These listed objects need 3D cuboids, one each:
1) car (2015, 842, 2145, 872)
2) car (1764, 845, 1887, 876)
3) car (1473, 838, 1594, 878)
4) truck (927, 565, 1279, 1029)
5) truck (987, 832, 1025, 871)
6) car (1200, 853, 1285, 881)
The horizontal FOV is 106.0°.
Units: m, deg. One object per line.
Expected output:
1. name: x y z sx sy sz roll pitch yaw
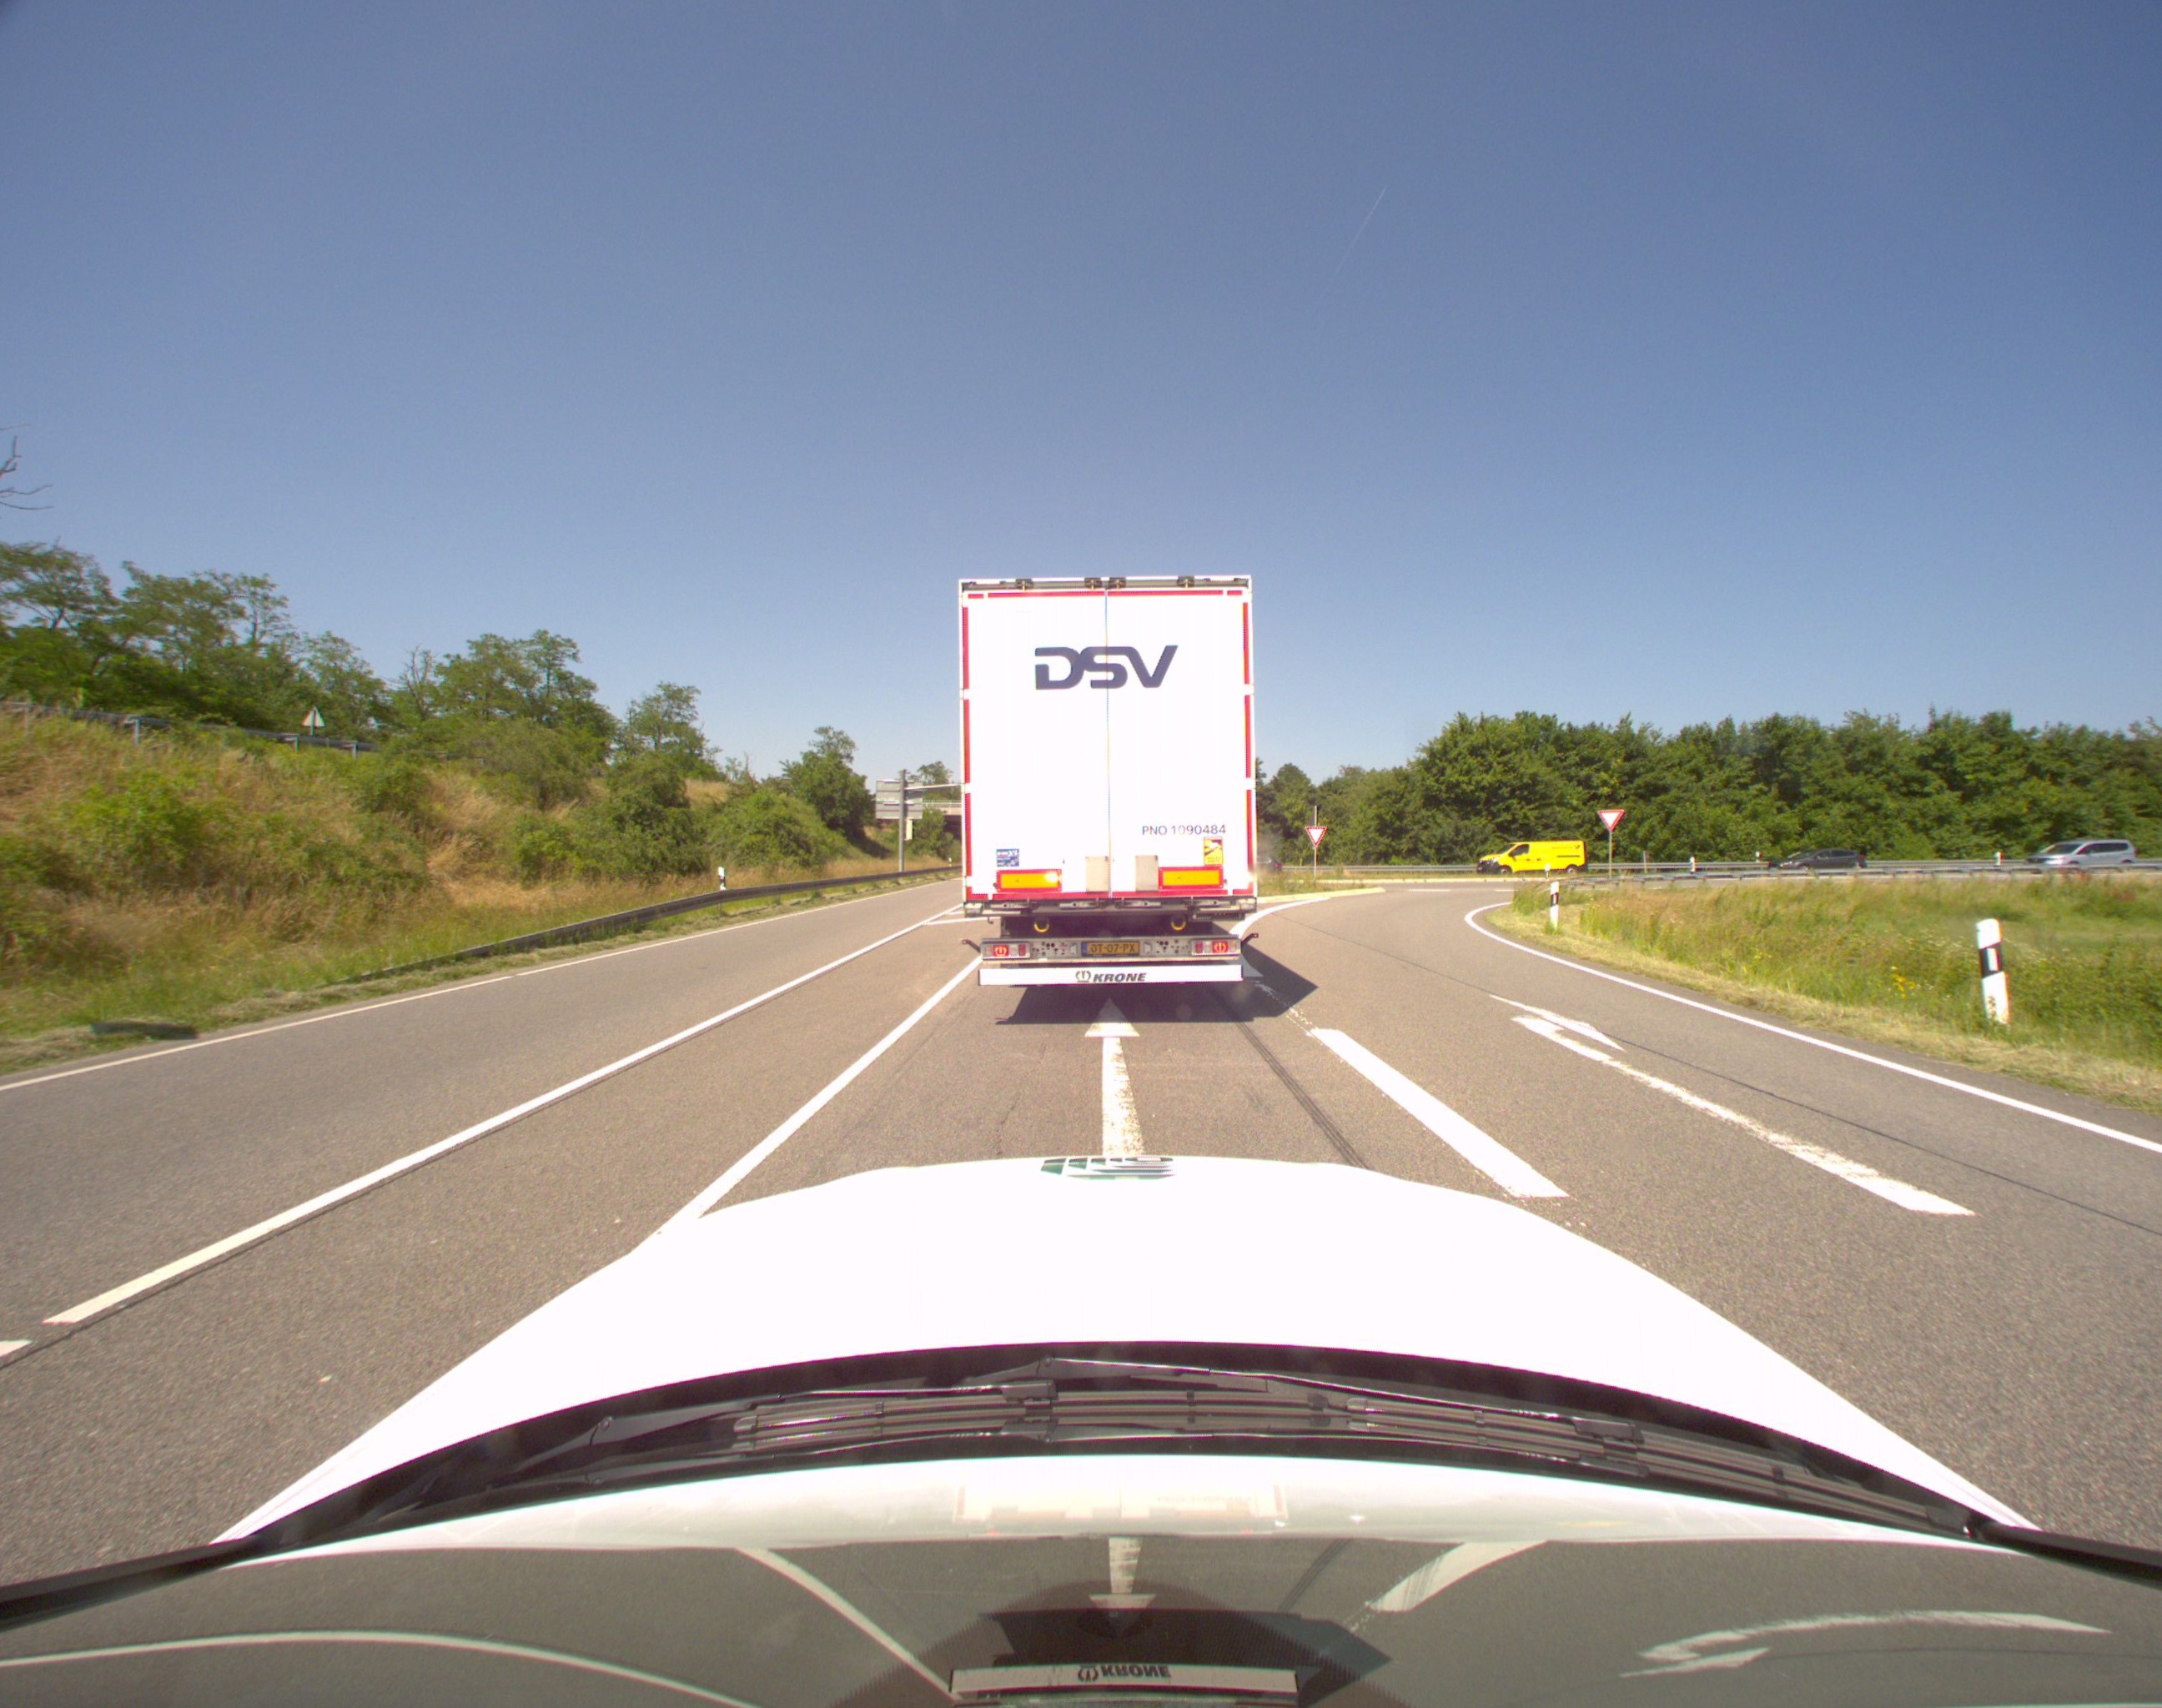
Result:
1. car: 52.861 0.169 43.140 4.668 1.514 1.852 -1 -1 -1
2. car: 39.195 0.357 42.947 4.662 1.514 1.855 -1 -1 3
3. car: 24.097 0.237 43.540 5.298 2.014 2.002 -1 -1 4
4. truck: 0.295 -0.474 11.920 2.977 3.942 9.877 -1 0 1
5. truck: -7.074 -0.180 78.180 2.634 3.538 7.893 -1 -1 2
6. car: 9.271 0.751 46.727 4.648 1.514 1.860 -1 -1 14
